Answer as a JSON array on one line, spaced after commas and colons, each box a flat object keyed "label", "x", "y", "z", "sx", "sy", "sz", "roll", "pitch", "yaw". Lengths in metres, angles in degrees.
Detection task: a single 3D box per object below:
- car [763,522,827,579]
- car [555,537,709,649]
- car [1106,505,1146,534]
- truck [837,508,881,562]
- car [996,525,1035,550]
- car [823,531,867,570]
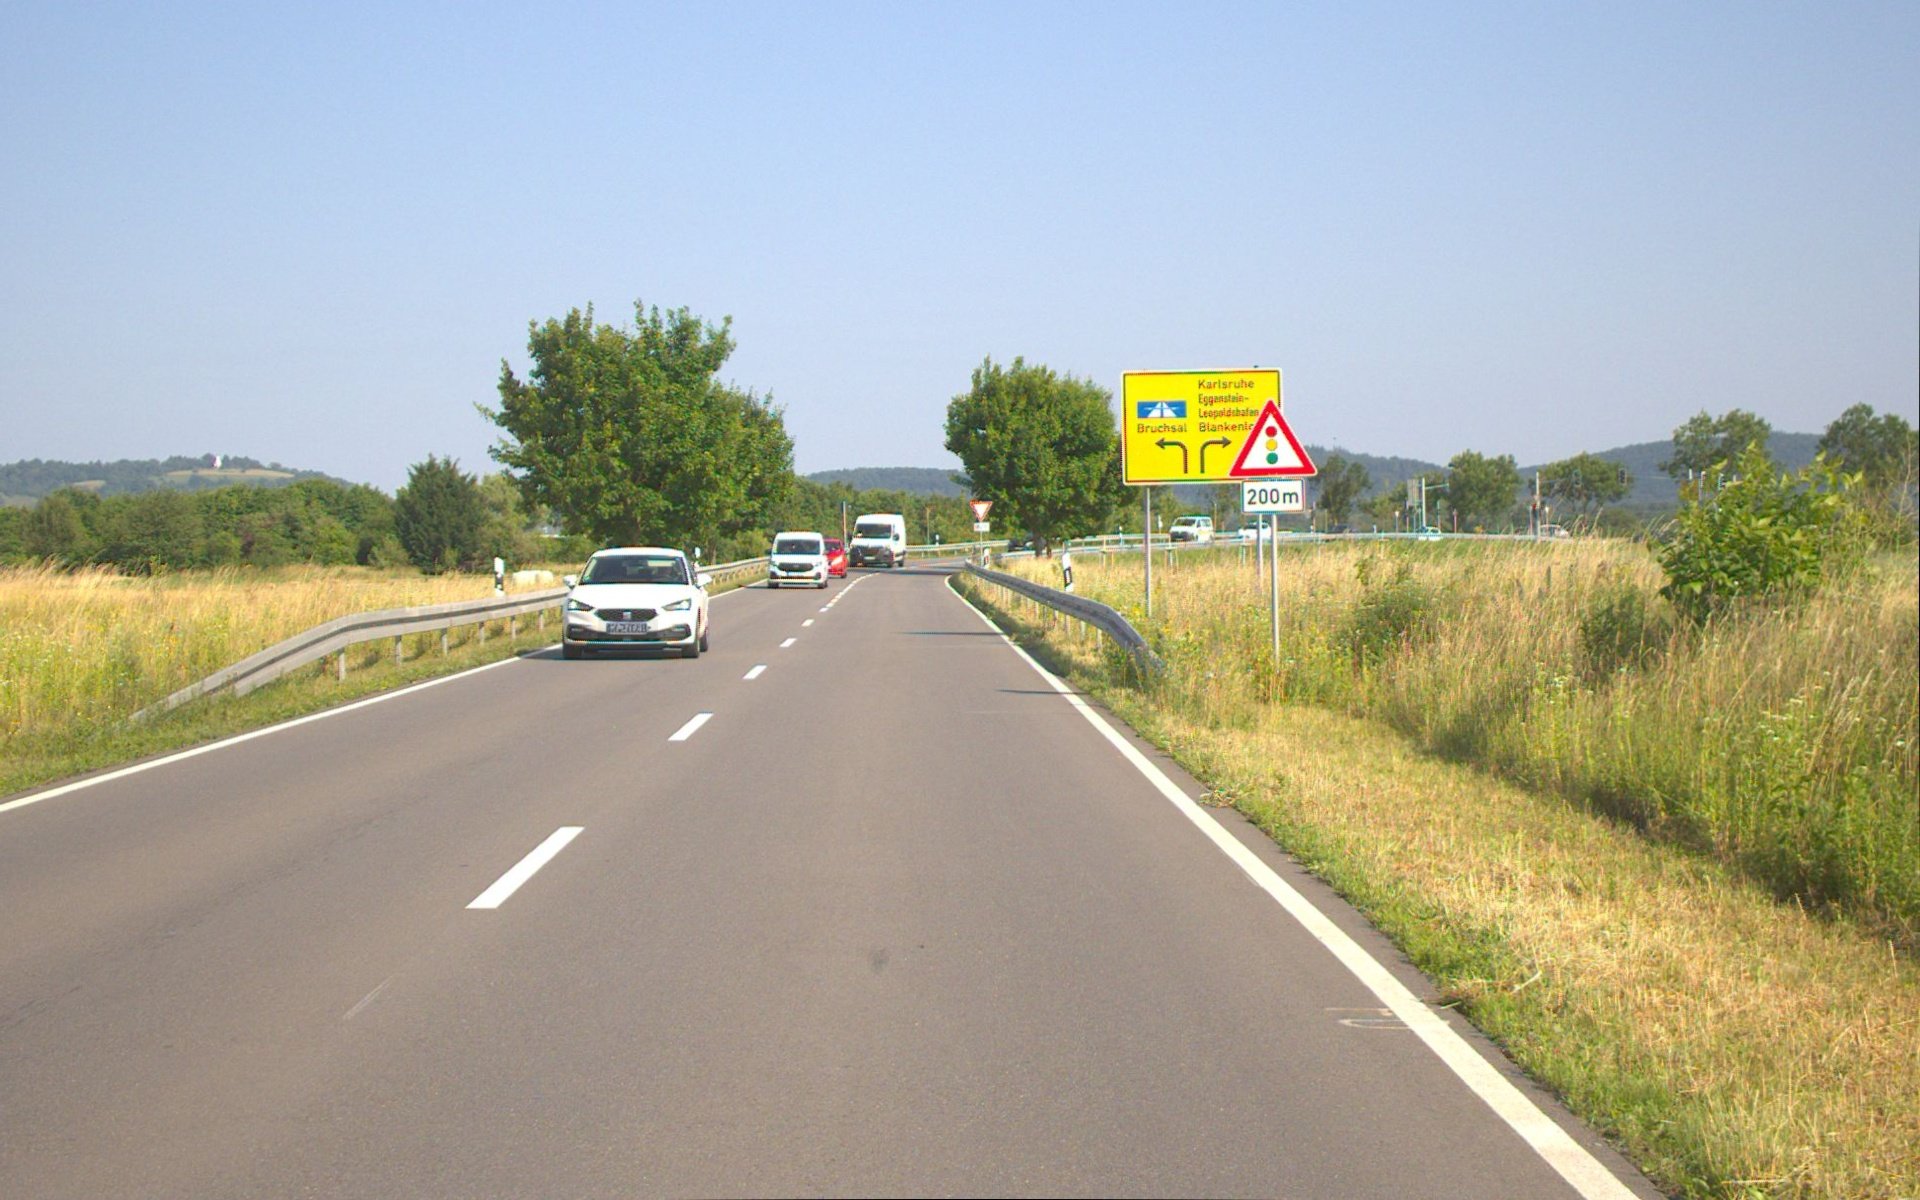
[{"label": "car", "x": -5.248, "y": -1.601, "z": 109.950, "sx": 1.836, "sy": 1.780, "sz": 4.435, "roll": 0, "pitch": 1, "yaw": 0}, {"label": "car", "x": -4.357, "y": -0.125, "z": 46.189, "sx": 1.726, "sy": 1.432, "sz": 4.517, "roll": 0, "pitch": 1, "yaw": -1}, {"label": "car", "x": 11.190, "y": -5.430, "z": 231.703, "sx": 1.994, "sy": 1.878, "sz": 4.589, "roll": 1, "pitch": 1, "yaw": 11}, {"label": "truck", "x": -4.778, "y": -3.096, "z": 163.550, "sx": 1.993, "sy": 2.511, "sz": 6.244, "roll": 0, "pitch": 1, "yaw": -1}, {"label": "car", "x": 3.303, "y": -3.687, "z": 203.164, "sx": 1.645, "sy": 1.466, "sz": 3.805, "roll": 1, "pitch": 1, "yaw": 11}, {"label": "car", "x": -4.444, "y": -1.924, "z": 133.010, "sx": 1.606, "sy": 1.483, "sz": 3.780, "roll": 0, "pitch": 1, "yaw": -1}]
